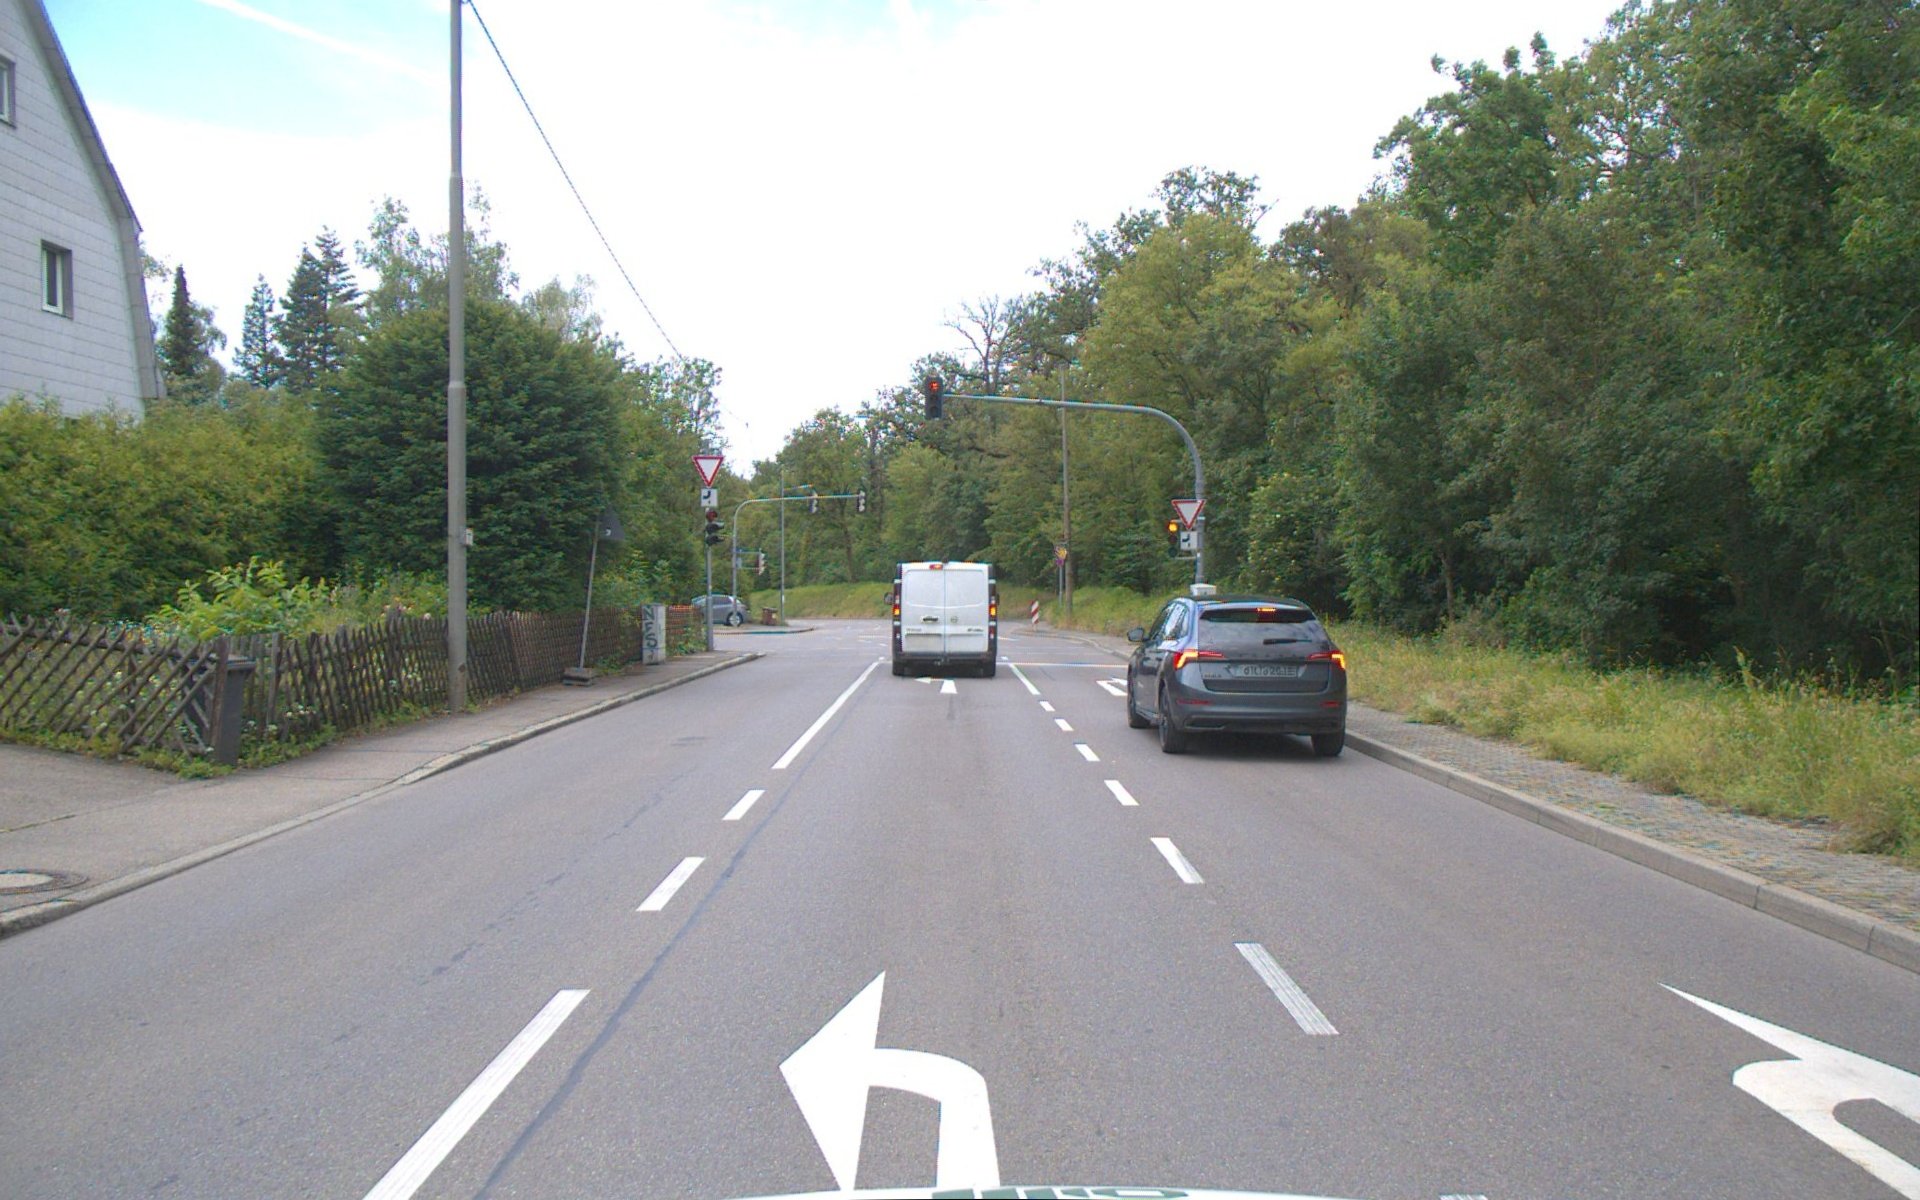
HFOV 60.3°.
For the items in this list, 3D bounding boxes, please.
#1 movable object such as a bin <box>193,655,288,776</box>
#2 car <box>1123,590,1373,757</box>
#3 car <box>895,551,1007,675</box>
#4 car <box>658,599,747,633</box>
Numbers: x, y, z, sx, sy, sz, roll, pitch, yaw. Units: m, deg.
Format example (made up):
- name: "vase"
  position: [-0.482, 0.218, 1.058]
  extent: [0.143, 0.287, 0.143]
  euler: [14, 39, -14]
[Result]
- name: "movable object such as a bin"
  position: [-5.949, 0.946, 13.692]
  extent: [0.539, 0.954, 0.538]
  euler: [0, 0, 1]
- name: "car"
  position: [2.756, 0.644, 16.694]
  extent: [1.756, 1.476, 3.999]
  euler: [0, 0, -1]
- name: "car"
  position: [-0.243, 0.204, 30.270]
  extent: [1.878, 2.089, 4.612]
  euler: [0, 0, -3]
- name: "car"
  position: [-12.474, 0.764, 80.054]
  extent: [4.022, 1.580, 1.846]
  euler: [0, 1, -18]
